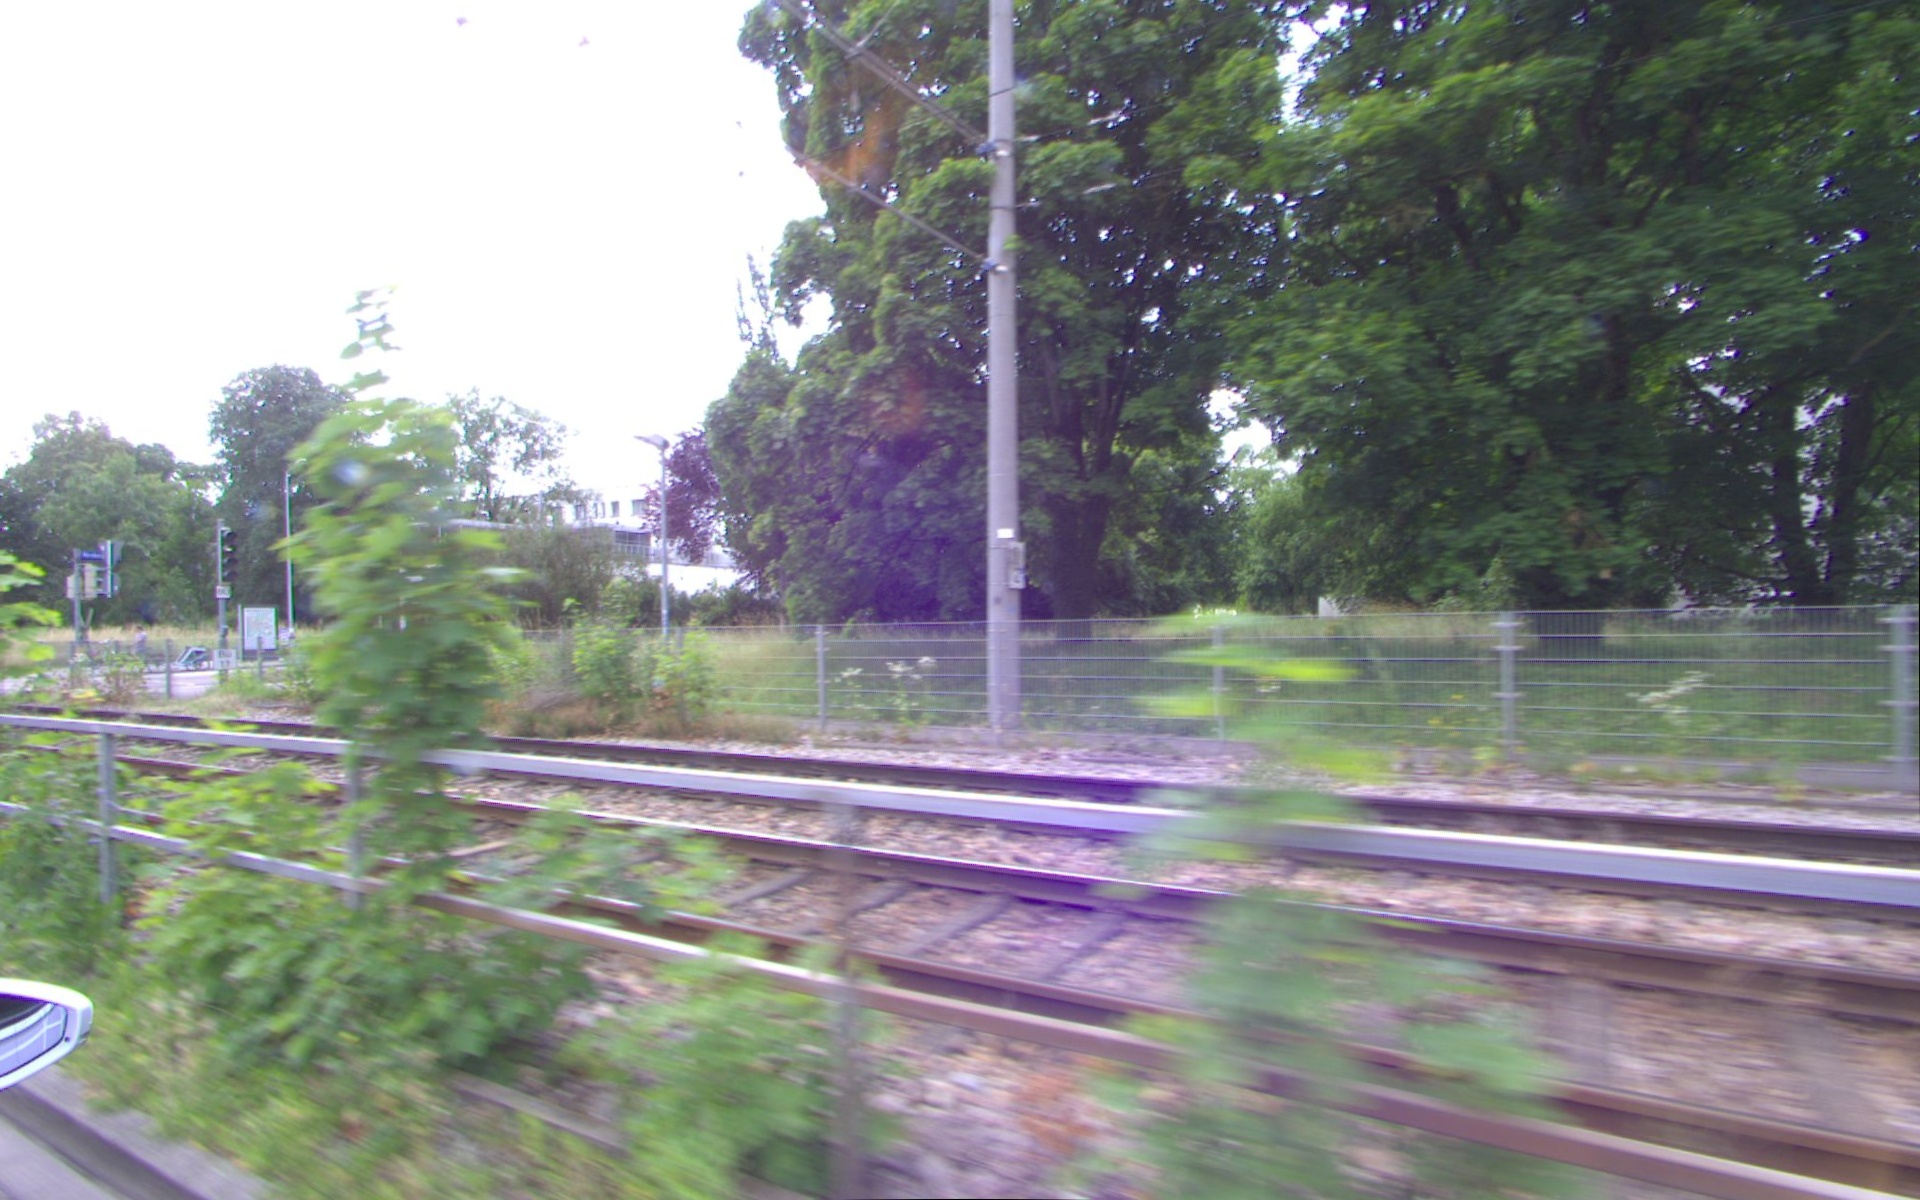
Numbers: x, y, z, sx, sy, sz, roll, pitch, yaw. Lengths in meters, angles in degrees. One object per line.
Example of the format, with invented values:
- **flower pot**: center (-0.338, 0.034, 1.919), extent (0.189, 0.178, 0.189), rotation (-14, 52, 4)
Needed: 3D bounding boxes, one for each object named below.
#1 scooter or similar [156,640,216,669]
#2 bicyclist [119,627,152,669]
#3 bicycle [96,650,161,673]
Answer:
- **scooter or similar**: center (-28.832, 2.011, 37.315), extent (0.949, 0.992, 1.570), rotation (-2, -1, 34)
- **bicyclist**: center (-29.765, 1.723, 36.157), extent (0.449, 1.494, 0.837), rotation (-1, 0, 34)
- **bicycle**: center (-29.812, 2.183, 35.917), extent (0.548, 0.775, 1.718), rotation (-2, -2, 34)
